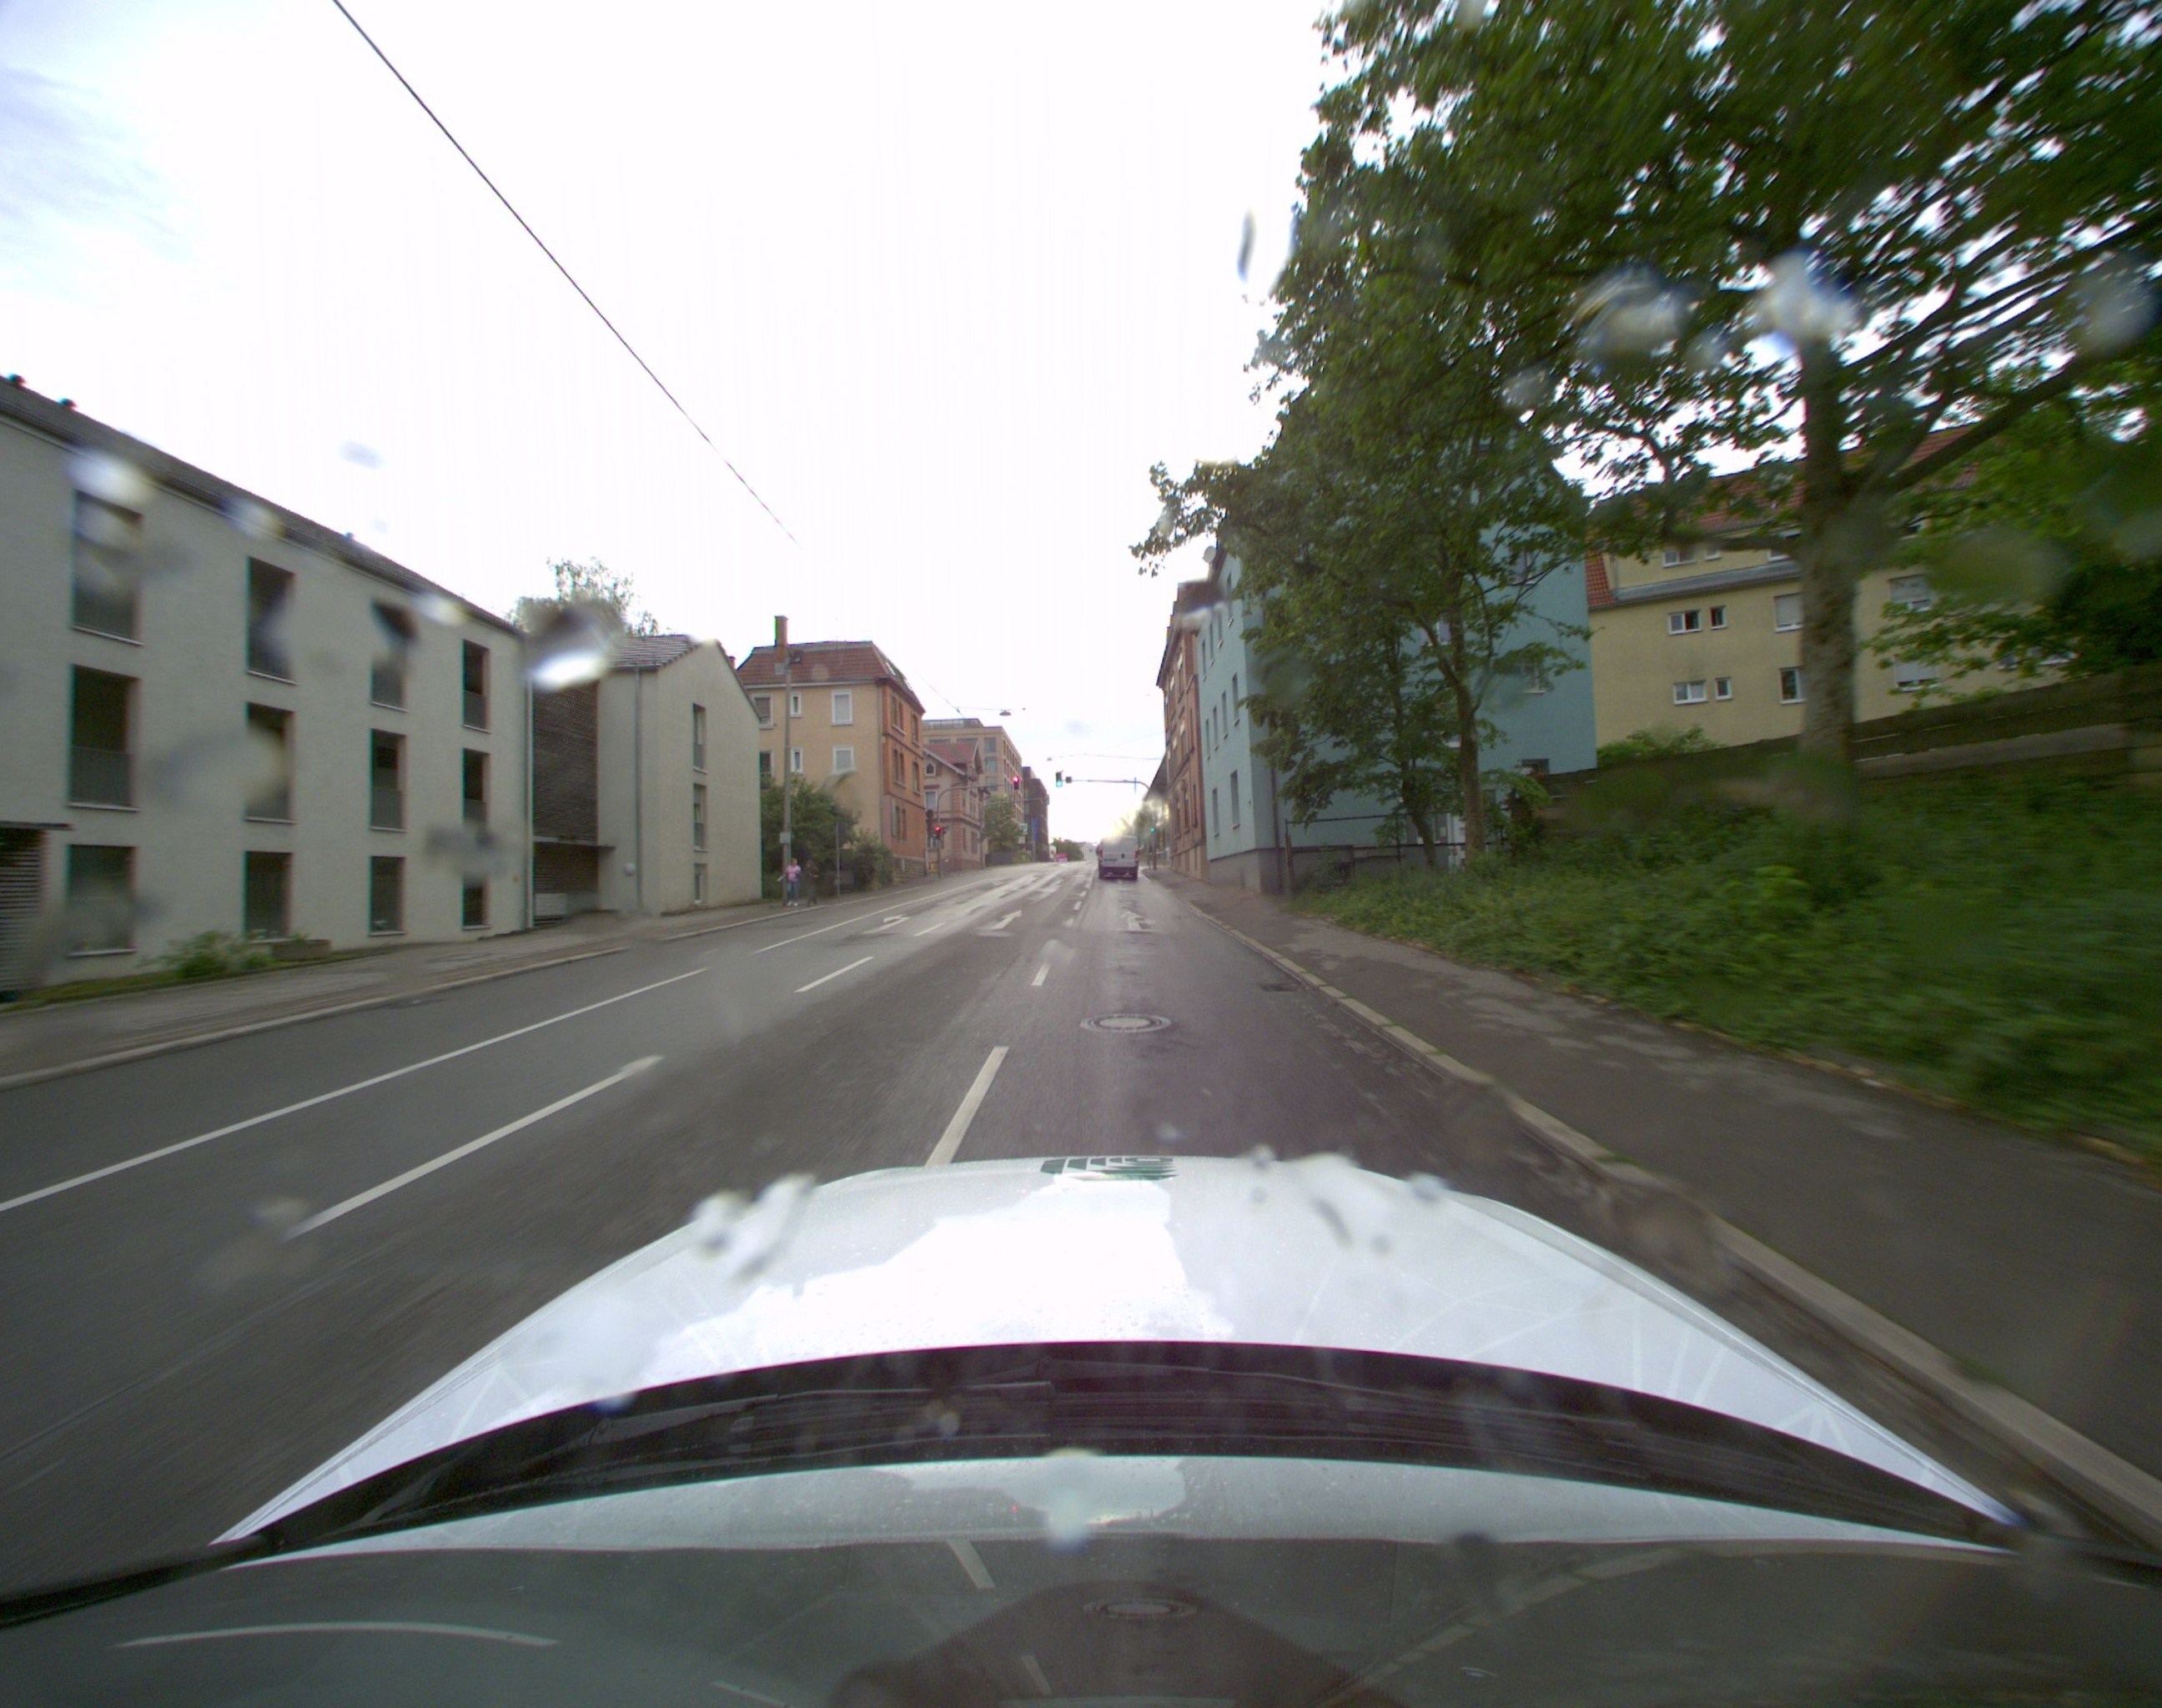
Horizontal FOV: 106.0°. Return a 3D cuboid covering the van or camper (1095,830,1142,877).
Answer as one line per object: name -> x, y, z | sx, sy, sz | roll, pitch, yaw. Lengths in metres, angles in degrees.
van or camper -> 1.995, 0.003, 43.499 | 2.331, 2.357, 5.202 | -1, -1, 2

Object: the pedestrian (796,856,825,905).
pedestrian -> -9.590, 0.934, 28.880 | 0.637, 1.706, 0.912 | -1, 0, 2

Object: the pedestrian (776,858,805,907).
pedestrian -> -10.286, 0.999, 28.846 | 0.637, 1.706, 0.912 | -1, 0, 2

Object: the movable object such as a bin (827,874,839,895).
movable object such as a bin -> -11.068, 1.365, 36.400 | 0.408, 0.925, 0.525 | -1, -1, -5
